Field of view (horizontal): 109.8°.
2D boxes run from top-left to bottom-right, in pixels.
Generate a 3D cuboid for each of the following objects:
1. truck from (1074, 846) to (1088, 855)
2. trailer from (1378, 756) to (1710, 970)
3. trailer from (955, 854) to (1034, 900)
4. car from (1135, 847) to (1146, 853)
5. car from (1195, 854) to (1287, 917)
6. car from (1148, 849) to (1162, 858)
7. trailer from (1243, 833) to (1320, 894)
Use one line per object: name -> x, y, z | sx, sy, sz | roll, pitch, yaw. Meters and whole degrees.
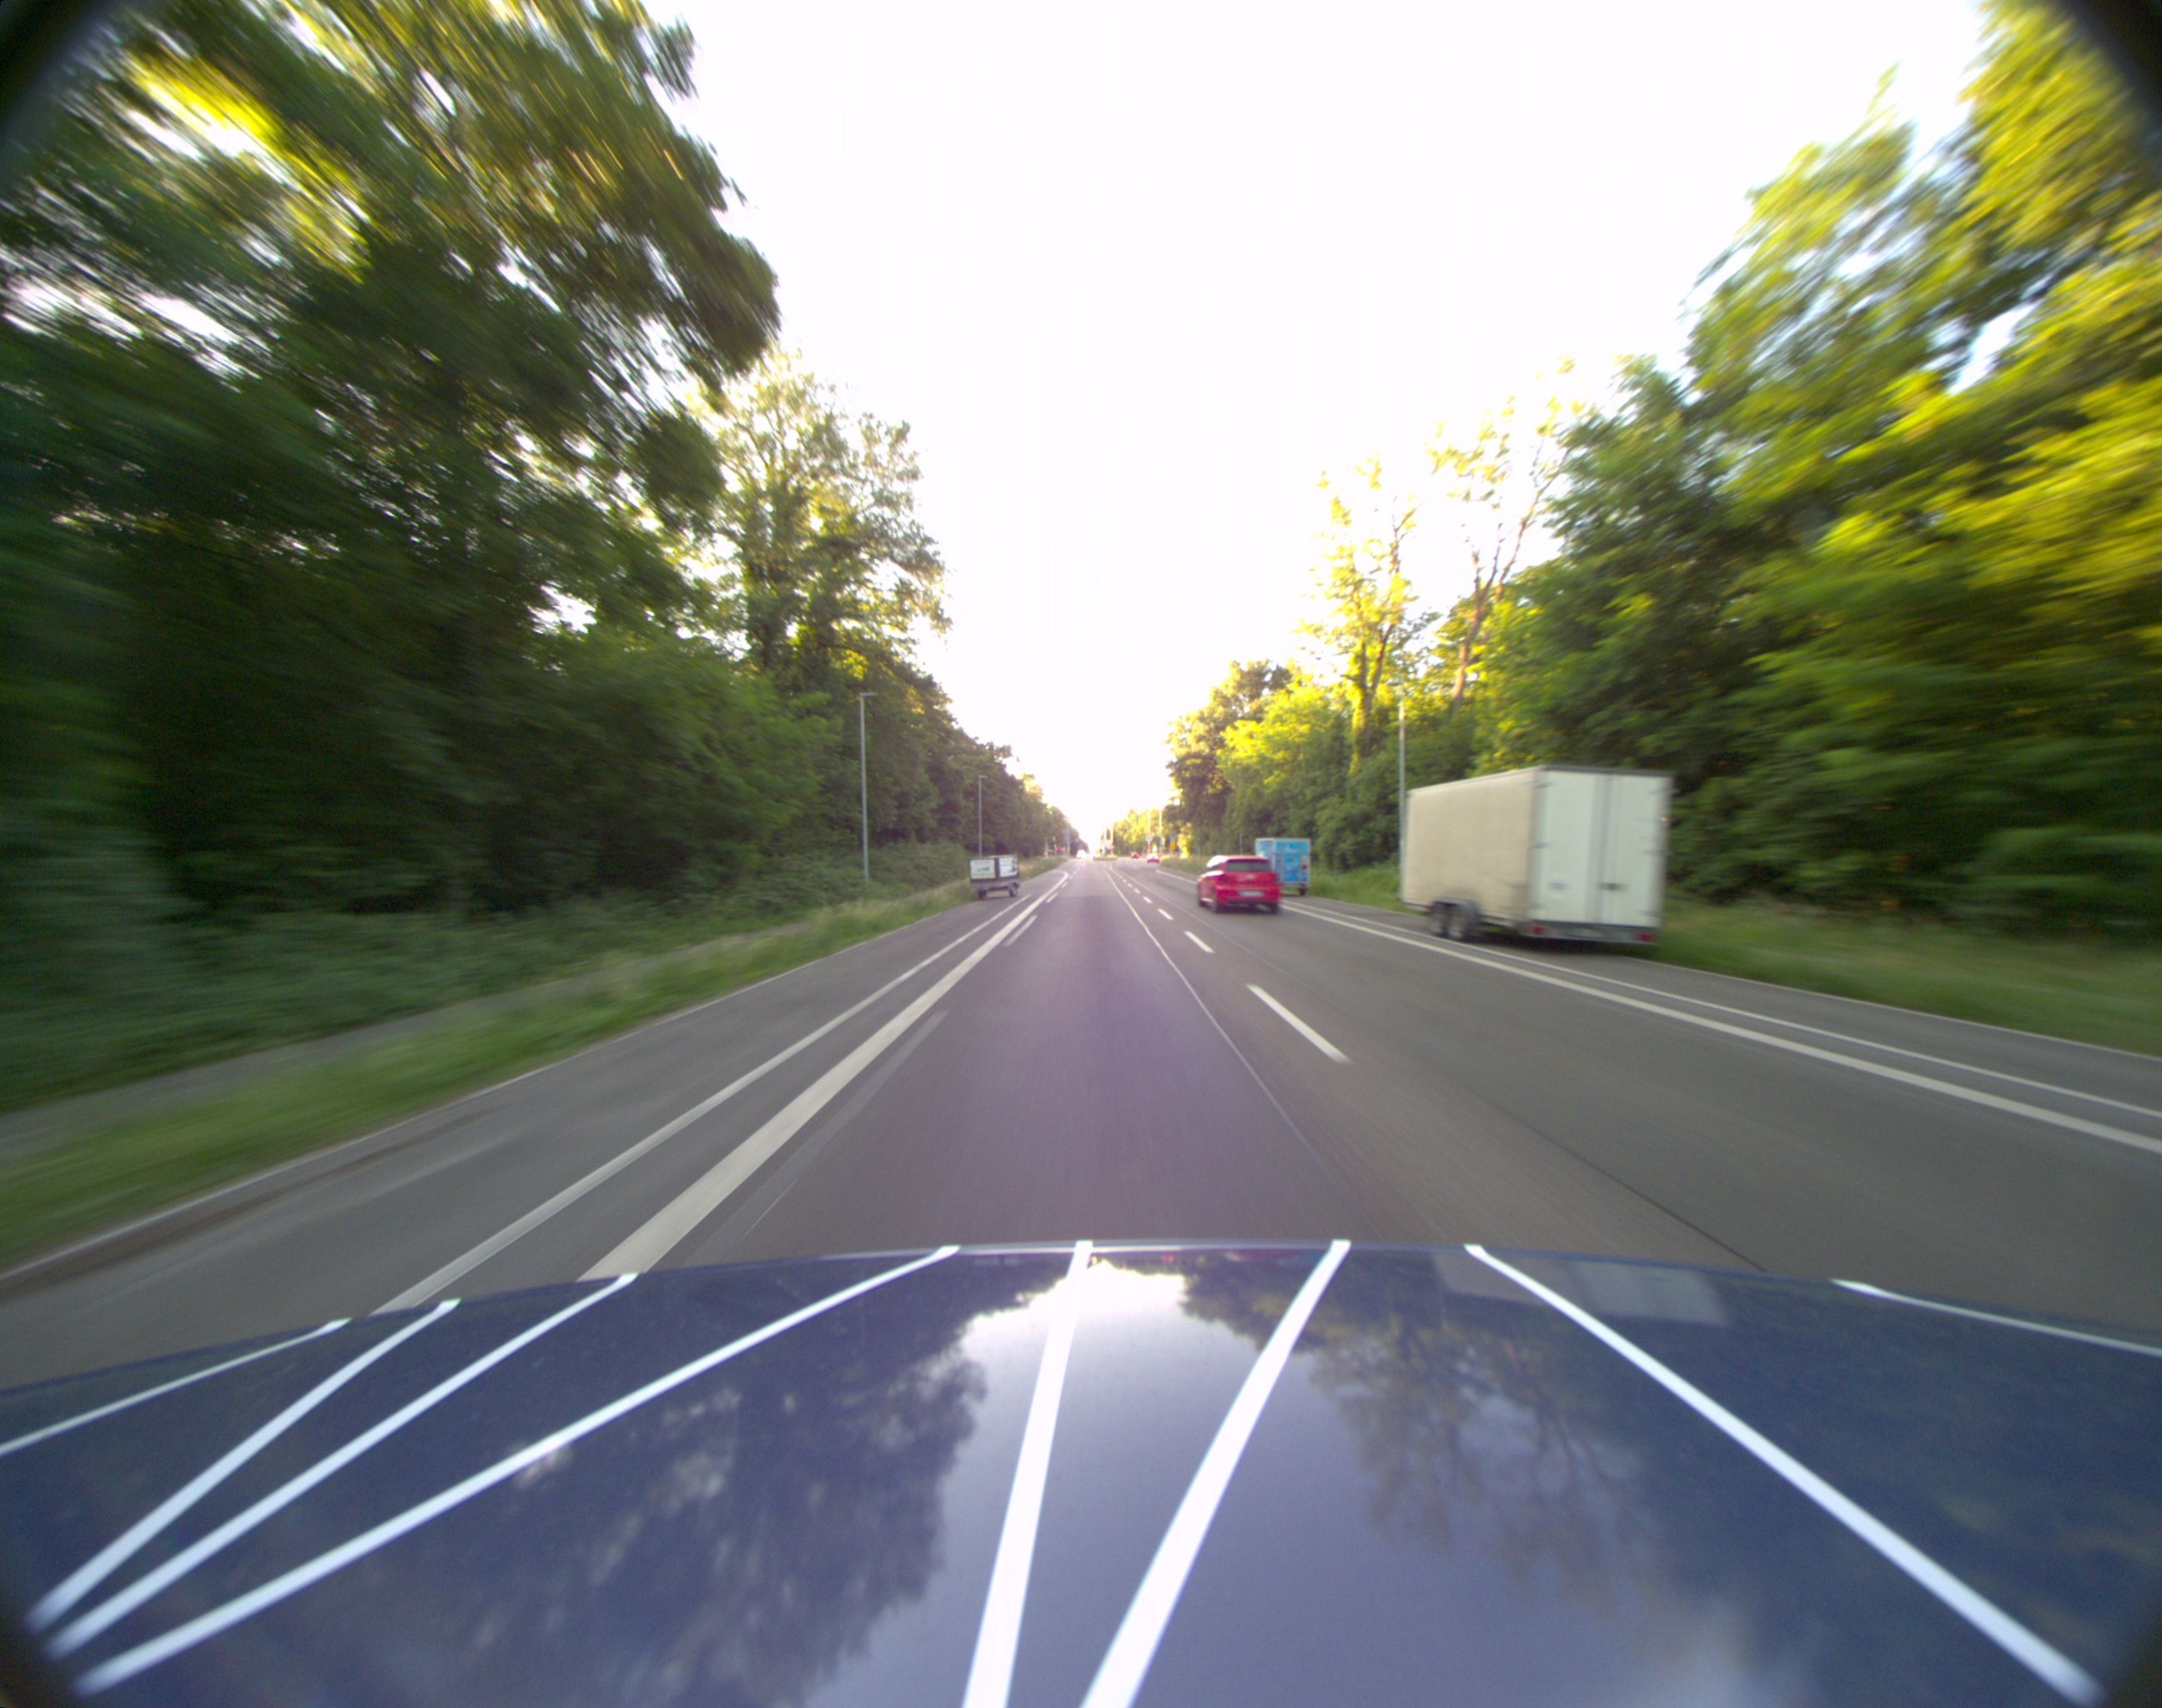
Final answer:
truck -> 0.159, -1.101, 230.873 | 2.600, 2.543, 6.028 | -1, 2, 16
trailer -> 7.497, 0.111, 13.323 | 2.331, 2.907, 5.626 | 1, 1, 0
trailer -> -3.267, 0.835, 29.448 | 1.457, 1.652, 3.782 | 0, 1, 20
car -> 15.303, -0.963, 194.401 | 1.821, 1.525, 4.461 | 1, 1, 17
car -> 4.120, 0.744, 20.122 | 1.686, 1.477, 4.038 | 0, 0, 2
car -> 12.430, -0.058, 127.739 | 2.068, 1.427, 4.467 | 0, -1, 3
trailer -> 7.527, 0.336, 28.940 | 1.822, 2.155, 4.142 | 0, 0, 0
